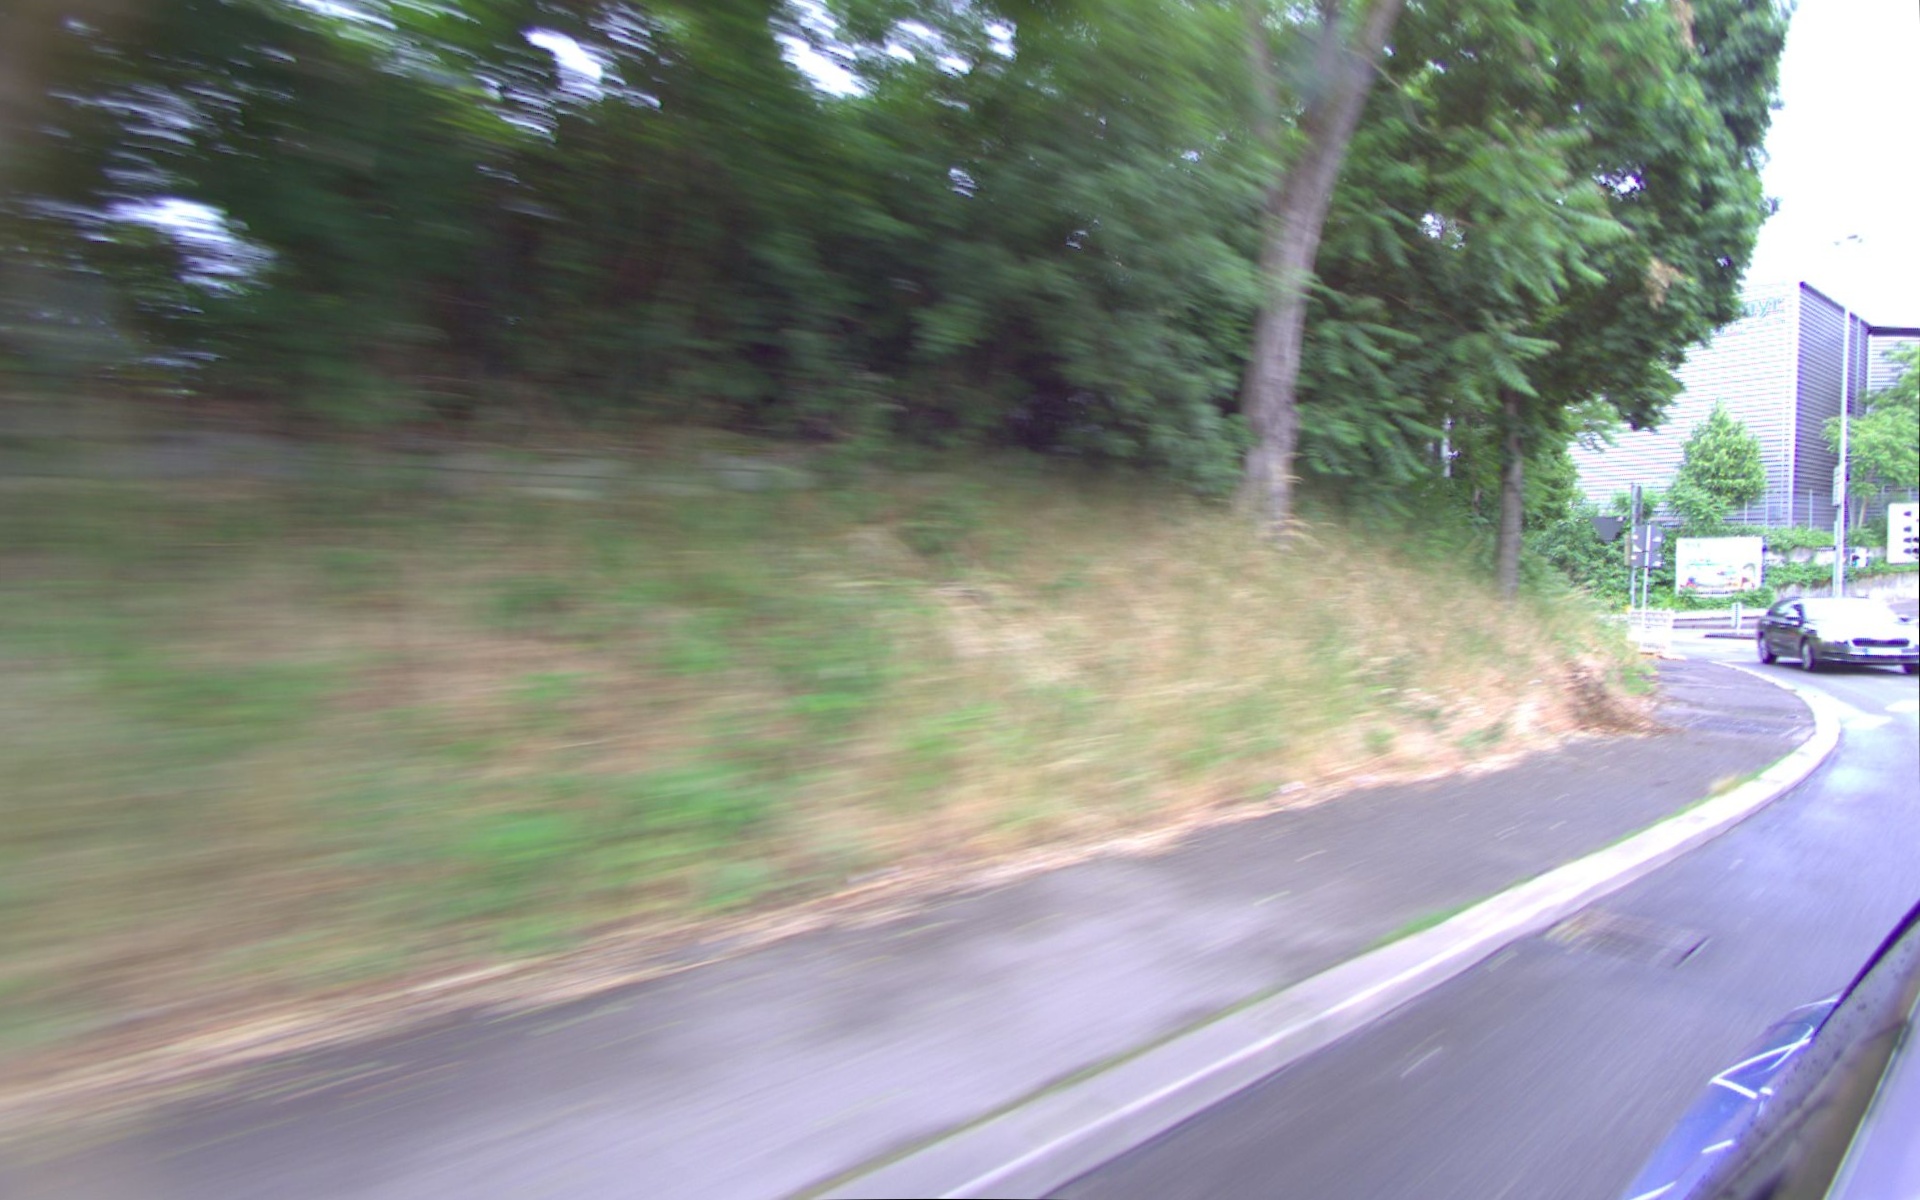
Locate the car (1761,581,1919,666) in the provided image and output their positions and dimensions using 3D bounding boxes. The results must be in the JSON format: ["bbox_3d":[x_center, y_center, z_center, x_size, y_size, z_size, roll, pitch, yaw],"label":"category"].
[{"bbox_3d":[17.832,0.450,20.363,1.793,1.537,4.016,-1,-1,26],"label":"car"}]
